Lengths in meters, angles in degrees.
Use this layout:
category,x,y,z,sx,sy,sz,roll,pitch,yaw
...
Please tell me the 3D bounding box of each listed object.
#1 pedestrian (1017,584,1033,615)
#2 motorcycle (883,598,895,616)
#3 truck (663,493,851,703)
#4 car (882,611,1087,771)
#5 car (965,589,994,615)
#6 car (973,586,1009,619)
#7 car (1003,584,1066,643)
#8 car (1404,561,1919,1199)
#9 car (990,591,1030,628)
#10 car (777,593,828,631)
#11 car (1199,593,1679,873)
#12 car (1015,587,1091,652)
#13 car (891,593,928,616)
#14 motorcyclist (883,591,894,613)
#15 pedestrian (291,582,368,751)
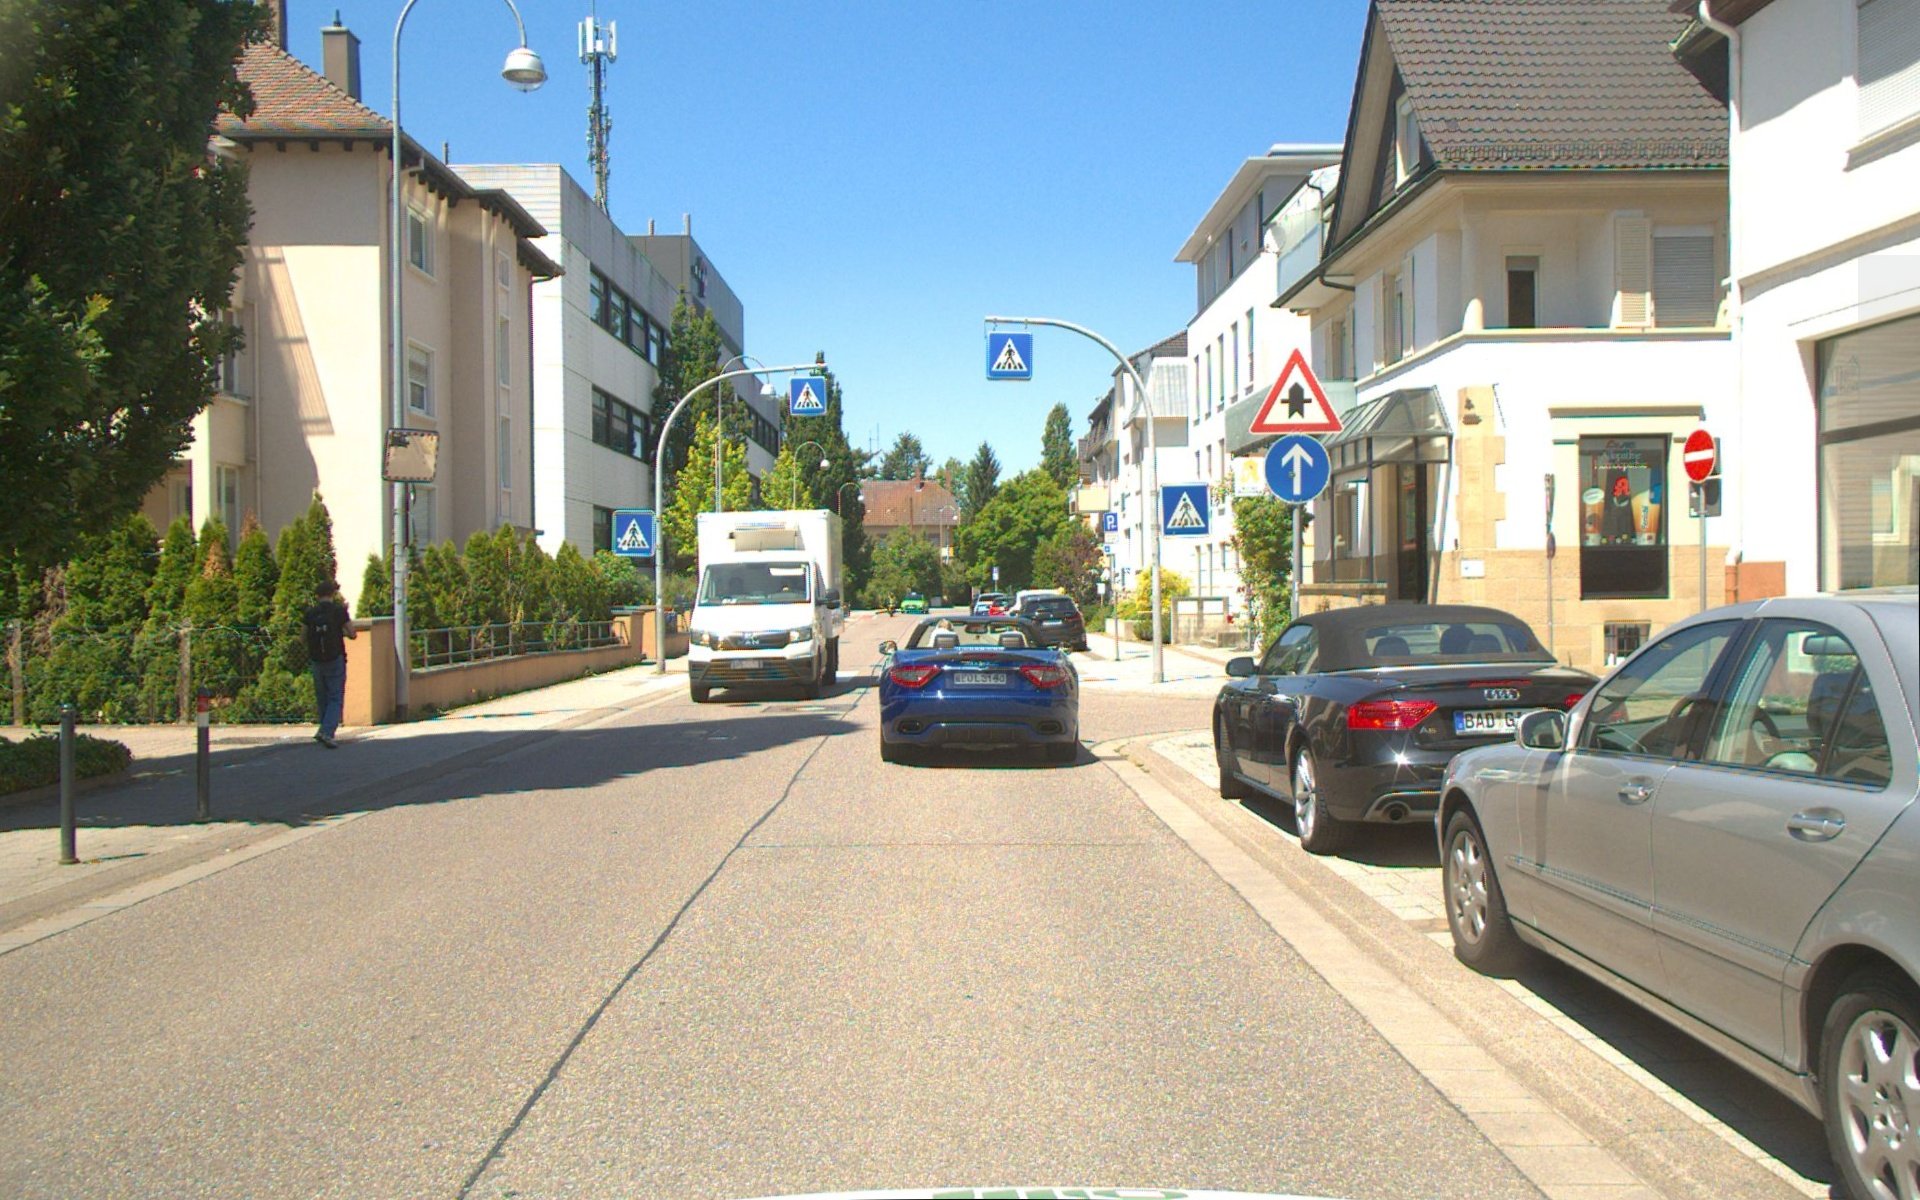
category,x,y,z,sx,sy,sz,roll,pitch,yaw
pedestrian,3.558,-0.028,90.589,0.725,1.698,0.705,-3,0,-2
motorcycle,-4.855,0.475,112.930,0.684,1.126,1.790,-2,0,-1
truck,-3.199,-0.048,27.549,2.370,3.035,6.257,-1,0,-1
car,0.184,0.807,16.811,1.789,1.360,4.699,0,0,-1
car,1.188,0.101,103.523,1.599,1.471,4.397,-4,0,-1
car,1.648,0.128,89.070,1.806,1.647,4.427,-3,0,0
car,2.254,0.377,50.903,1.670,1.695,4.579,-1,0,0
car,2.888,0.650,4.907,1.708,1.494,4.851,-3,0,-1
car,2.167,0.391,72.100,1.571,1.465,3.853,-4,0,0
car,-6.624,0.491,69.928,1.785,1.538,4.289,0,0,-1
car,2.881,0.700,11.109,1.789,1.452,4.699,-1,0,-1
car,2.441,0.485,44.561,1.670,1.583,4.747,-3,0,0
car,-3.927,0.316,127.844,1.794,1.616,4.080,2,1,-18
motorcyclist,-4.864,0.111,112.780,0.684,1.458,0.707,-2,0,-1
pedestrian,-6.546,0.677,17.204,0.525,1.714,0.708,0,0,-1
